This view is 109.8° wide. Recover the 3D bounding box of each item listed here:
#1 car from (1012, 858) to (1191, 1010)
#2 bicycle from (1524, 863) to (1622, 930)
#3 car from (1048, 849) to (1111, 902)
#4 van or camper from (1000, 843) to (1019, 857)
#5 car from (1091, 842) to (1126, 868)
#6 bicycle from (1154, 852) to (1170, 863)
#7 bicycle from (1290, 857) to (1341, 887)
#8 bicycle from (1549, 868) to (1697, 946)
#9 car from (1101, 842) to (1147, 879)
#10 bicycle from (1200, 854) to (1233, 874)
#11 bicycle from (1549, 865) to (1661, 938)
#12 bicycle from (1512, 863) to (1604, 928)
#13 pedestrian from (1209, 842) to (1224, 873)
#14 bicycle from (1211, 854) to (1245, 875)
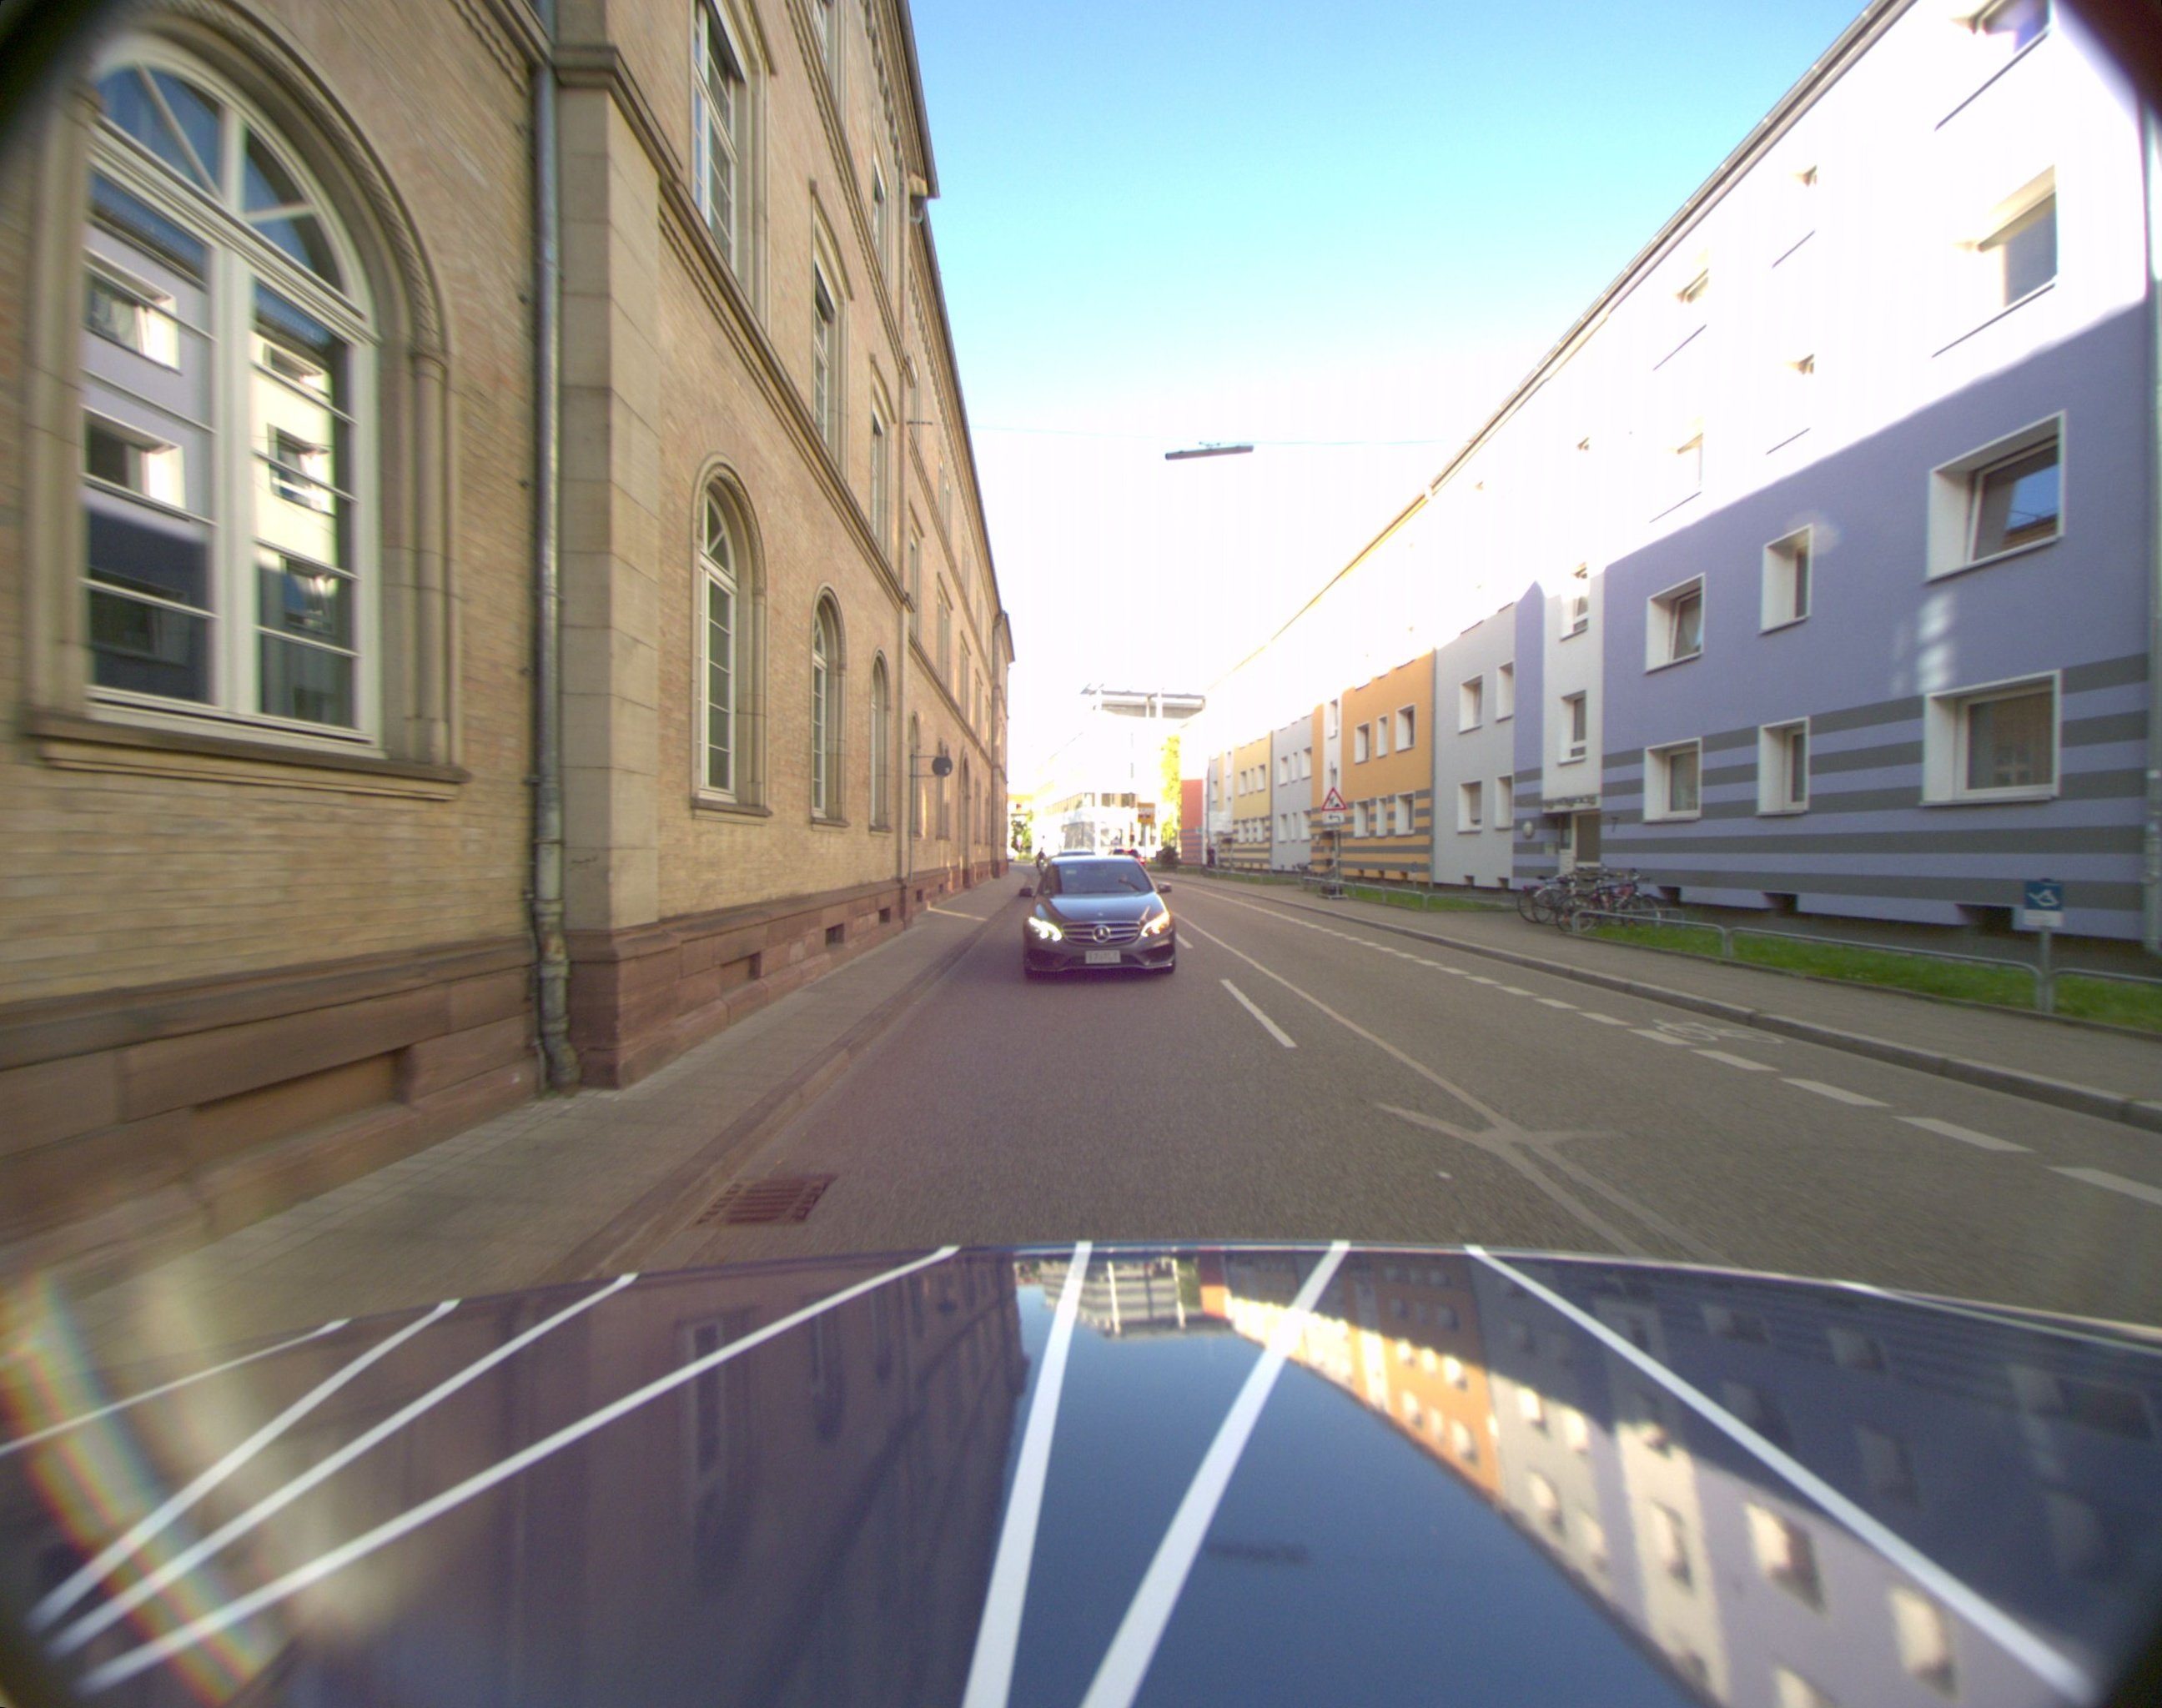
[{"bbox_3d":[0.242,0.839,10.191,1.798,1.460,4.719,-2,0,1],"label":"car"},{"bbox_3d":[9.340,0.799,14.451,1.589,1.234,0.449,0,1,-3],"label":"bicycle"},{"bbox_3d":[-0.132,0.632,24.993,1.748,1.594,3.998,0,1,-5],"label":"car"},{"bbox_3d":[-10.546,-0.612,112.048,2.164,2.002,4.970,0,1,-14],"label":"van or camper"},{"bbox_3d":[1.714,0.049,48.323,1.746,1.477,4.134,2,0,-5],"label":"car"},{"bbox_3d":[9.002,0.341,84.506,0.471,1.175,1.987,-2,2,-41],"label":"bicycle"},{"bbox_3d":[9.018,0.690,29.243,1.757,1.139,0.650,0,1,-10],"label":"bicycle"},{"bbox_3d":[8.872,0.852,12.472,2.014,1.224,0.623,0,1,-3],"label":"bicycle"},{"bbox_3d":[2.251,0.310,41.221,1.905,1.824,5.092,2,0,-3],"label":"car"},{"bbox_3d":[7.967,0.587,44.750,1.757,1.139,0.650,0,1,-10],"label":"bicycle"},{"bbox_3d":[9.078,0.814,13.194,1.643,1.234,0.467,0,1,-3],"label":"bicycle"},{"bbox_3d":[9.325,0.801,14.869,1.584,1.234,0.384,0,1,-3],"label":"bicycle"},{"bbox_3d":[8.057,0.200,45.105,0.720,1.844,0.870,1,1,19],"label":"pedestrian"},{"bbox_3d":[8.380,0.595,43.394,1.757,1.139,0.650,0,1,-10],"label":"bicycle"}]
